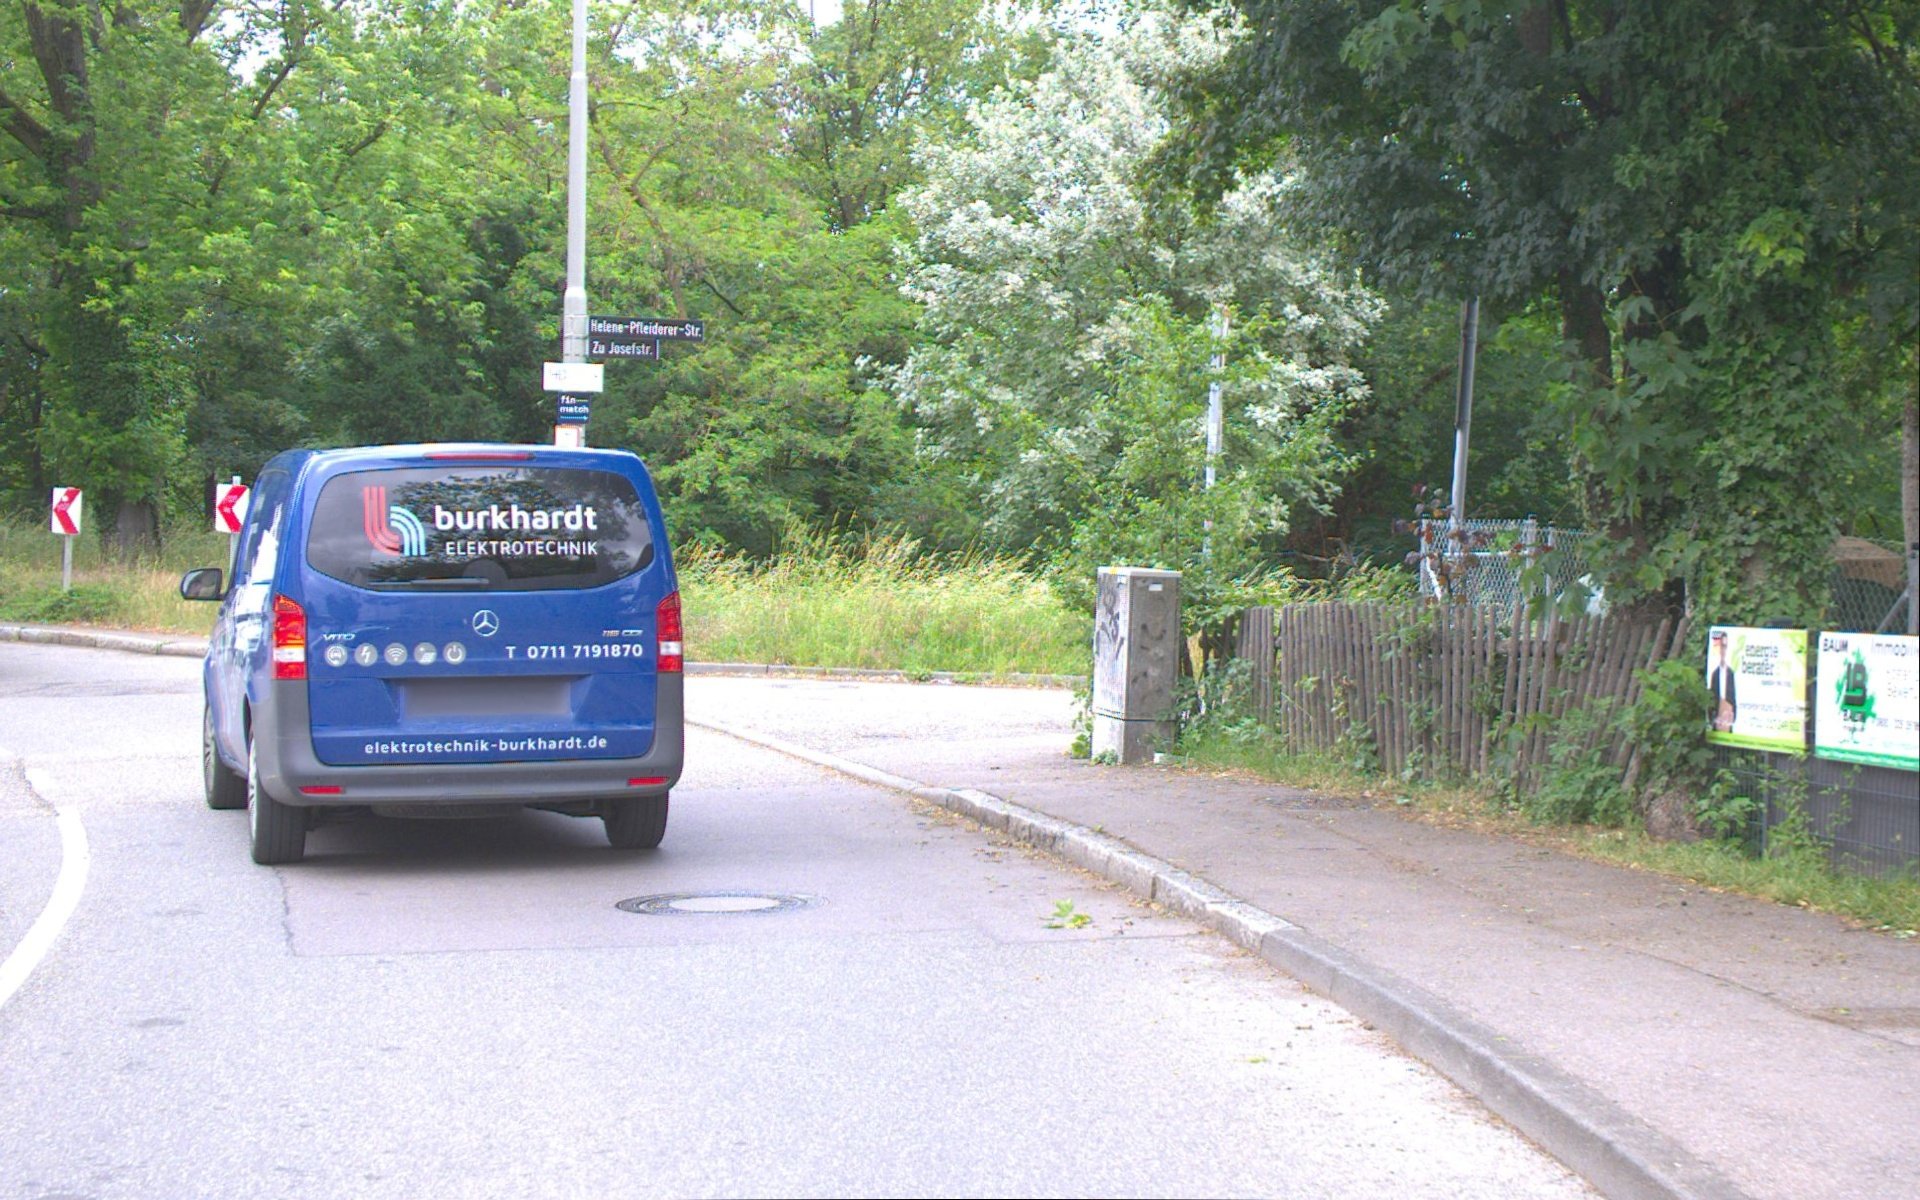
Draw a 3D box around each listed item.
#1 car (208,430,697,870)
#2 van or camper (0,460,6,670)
[{"bbox_3d":[-2.598,0.154,16.724,1.913,1.831,4.295,-1,1,-14],"label":"car"},{"bbox_3d":[-10.874,-0.382,32.294,2.020,1.950,4.895,-3,3,-36],"label":"van or camper"}]
